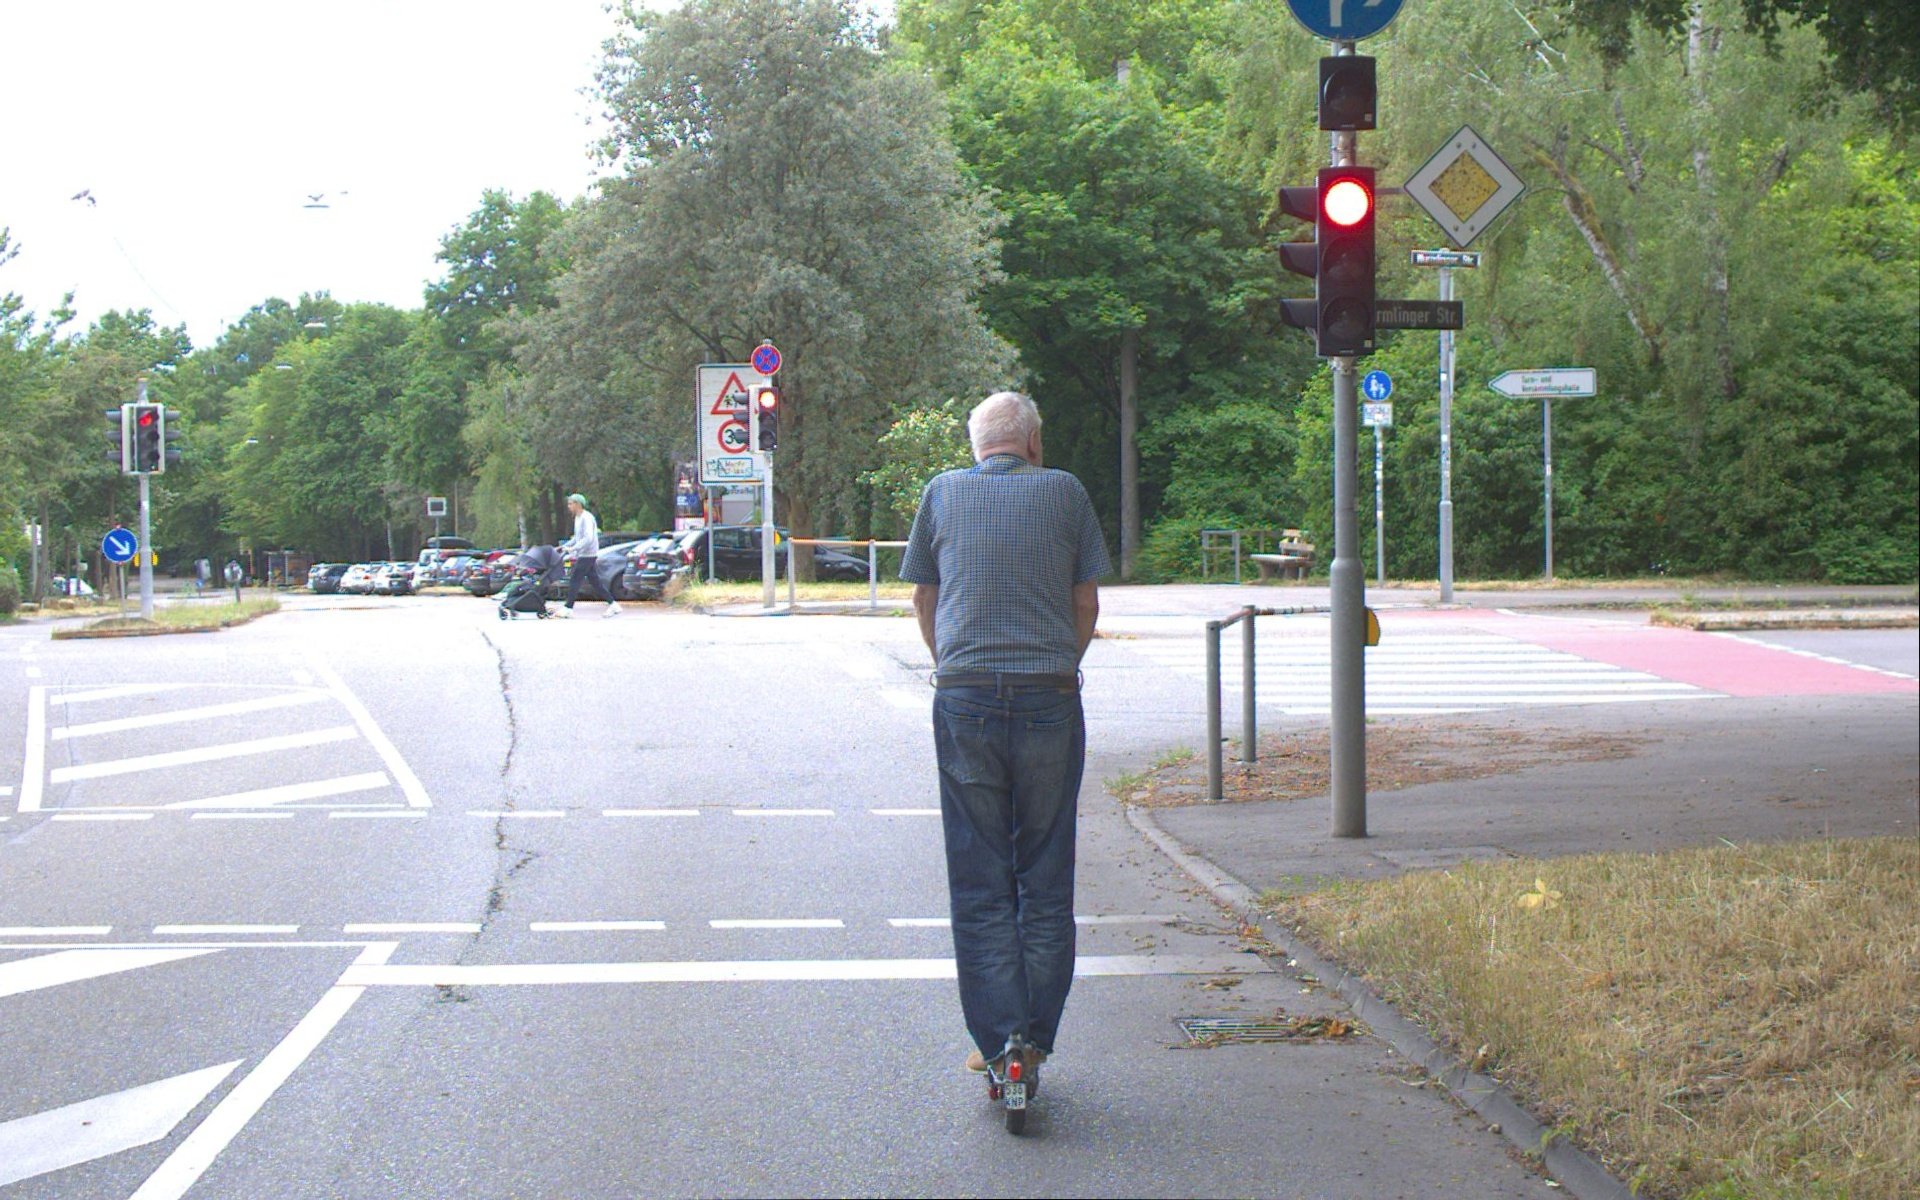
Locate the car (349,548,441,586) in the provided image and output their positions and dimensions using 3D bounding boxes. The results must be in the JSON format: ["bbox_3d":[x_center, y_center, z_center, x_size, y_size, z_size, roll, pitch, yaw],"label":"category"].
[{"bbox_3d":[-26.246,-1.519,159.601,3.841,1.605,1.728,-3,2,-23],"label":"car"}]

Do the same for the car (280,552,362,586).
[{"bbox_3d":[-33.199,-1.594,178.638,3.841,1.605,1.728,-3,2,-23],"label":"car"}]

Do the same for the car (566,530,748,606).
[{"bbox_3d":[-7.079,-0.759,80.360,3.841,1.605,1.728,-3,2,-24],"label":"car"}]

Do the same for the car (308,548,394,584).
[{"bbox_3d":[-29.964,-1.697,169.197,3.841,1.605,1.728,-3,2,-23],"label":"car"}]

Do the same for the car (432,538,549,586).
[{"bbox_3d":[-17.125,-1.386,125.386,3.841,1.605,1.728,-3,2,-23],"label":"car"}]

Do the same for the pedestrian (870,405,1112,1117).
[{"bbox_3d":[0.088,0.409,8.972,0.572,1.807,0.420,-1,1,3],"label":"pedestrian"}]

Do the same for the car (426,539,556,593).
[{"bbox_3d":[-15.335,-1.128,112.438,3.841,1.605,1.728,-3,2,-23],"label":"car"}]

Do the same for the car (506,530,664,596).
[{"bbox_3d":[-10.105,-1.012,92.629,3.841,1.605,1.728,-3,2,-23],"label":"car"}]

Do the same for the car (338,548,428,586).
[{"bbox_3d":[-27.216,-1.566,162.161,3.841,1.605,1.728,-3,2,-23],"label":"car"}]

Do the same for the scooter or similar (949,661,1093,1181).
[{"bbox_3d":[0.142,0.768,8.697,0.282,1.174,1.177,-1,1,-2],"label":"scooter or similar"}]

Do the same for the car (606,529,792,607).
[{"bbox_3d":[-5.956,-0.740,78.402,3.840,1.605,1.729,-3,2,-21],"label":"car"}]

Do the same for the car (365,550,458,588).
[{"bbox_3d":[-25.147,-1.434,157.481,3.841,1.605,1.728,-3,2,-23],"label":"car"}]

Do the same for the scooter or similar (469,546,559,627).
[{"bbox_3d":[-6.095,-0.187,46.995,1.107,1.077,0.578,-2,1,-18],"label":"scooter or similar"}]

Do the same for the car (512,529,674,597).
[{"bbox_3d":[-9.638,-0.977,90.222,3.841,1.605,1.728,-3,2,-23],"label":"car"}]

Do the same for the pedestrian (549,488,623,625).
[{"bbox_3d":[-5.145,-0.603,47.283,0.883,1.856,0.574,-2,1,-14],"label":"pedestrian"}]
